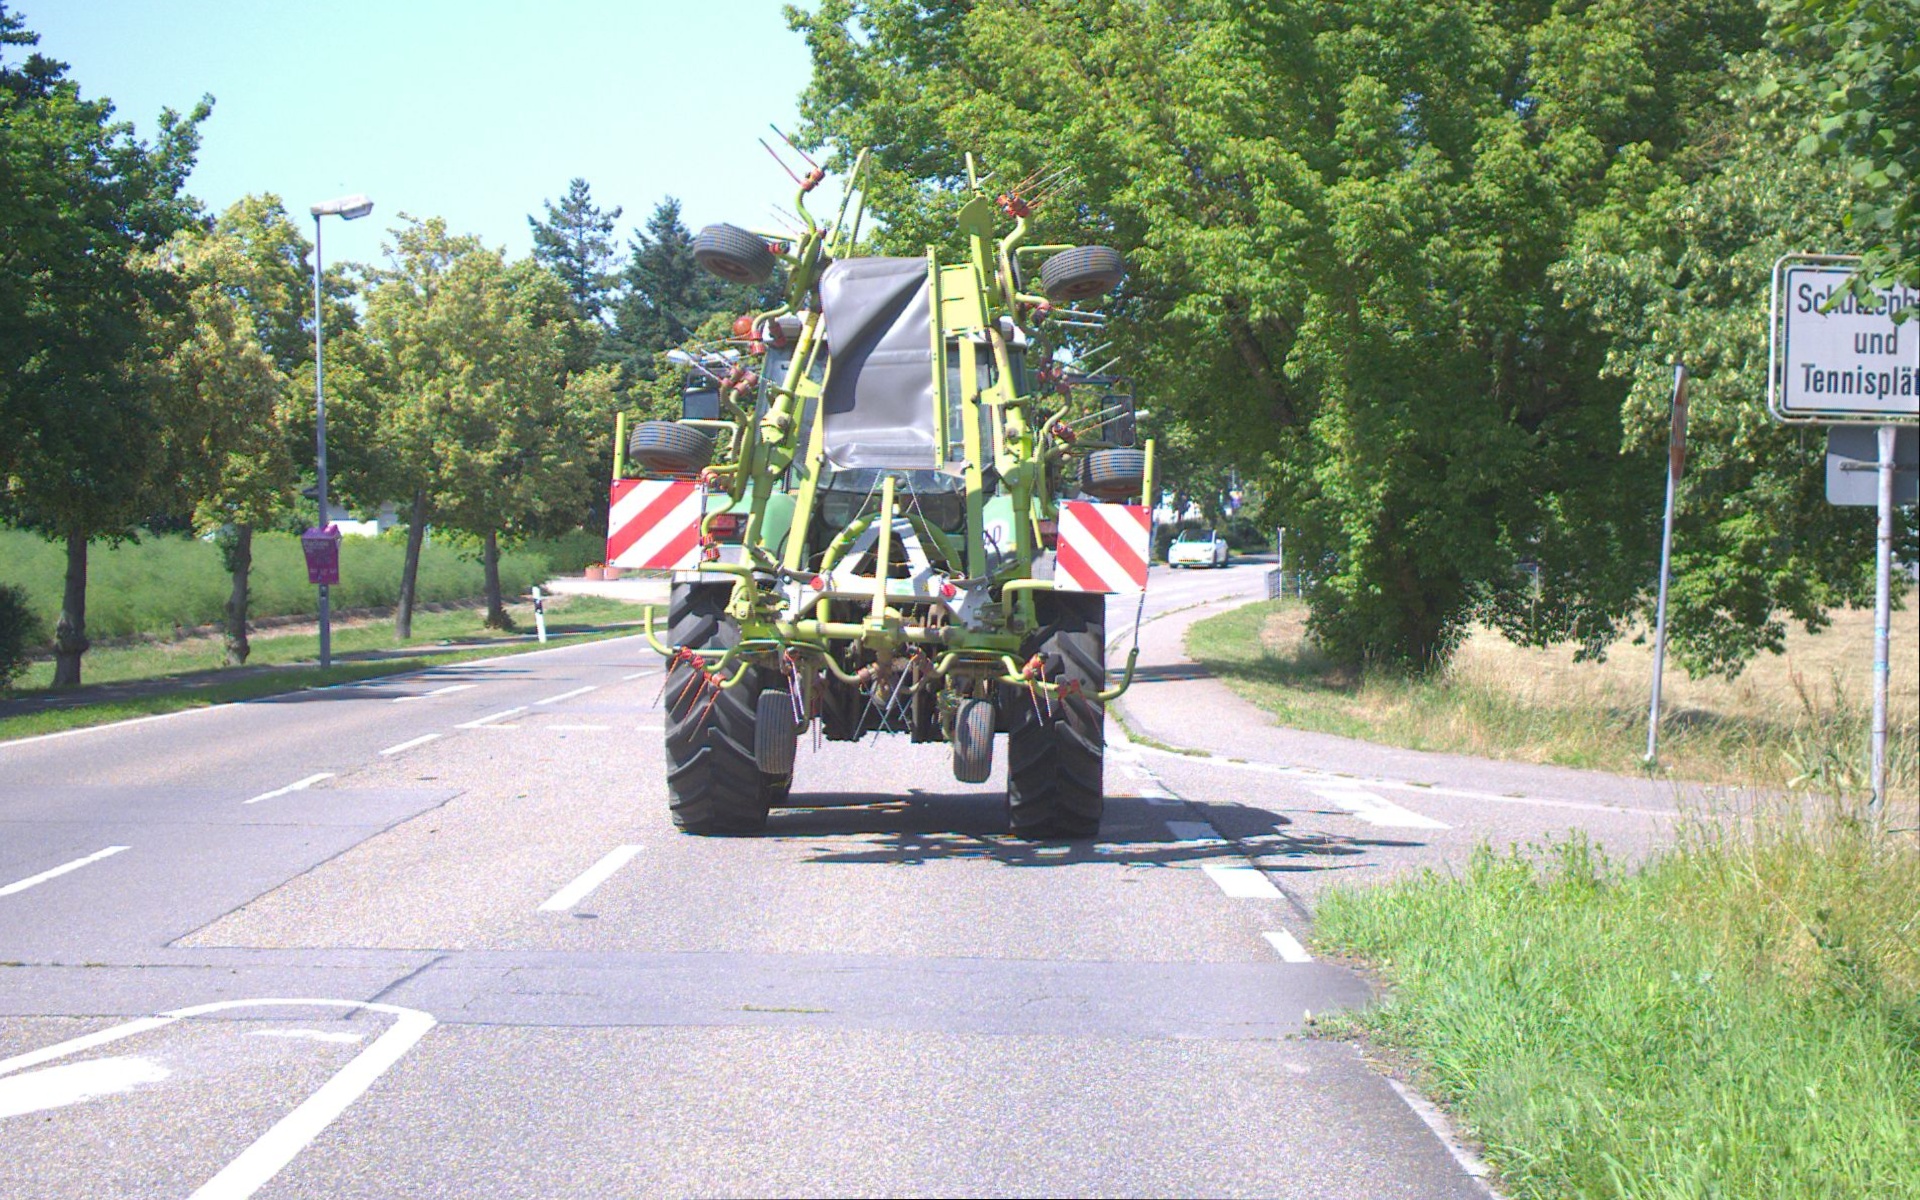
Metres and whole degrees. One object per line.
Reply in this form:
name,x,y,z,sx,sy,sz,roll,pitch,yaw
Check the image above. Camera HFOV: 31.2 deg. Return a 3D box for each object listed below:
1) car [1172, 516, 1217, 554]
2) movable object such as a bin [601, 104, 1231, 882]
car,9.917,-2.758,145.274,1.649,1.429,3.896,4,2,6
movable object such as a bin,-0.237,-0.550,20.566,2.853,3.529,9.701,0,1,0
